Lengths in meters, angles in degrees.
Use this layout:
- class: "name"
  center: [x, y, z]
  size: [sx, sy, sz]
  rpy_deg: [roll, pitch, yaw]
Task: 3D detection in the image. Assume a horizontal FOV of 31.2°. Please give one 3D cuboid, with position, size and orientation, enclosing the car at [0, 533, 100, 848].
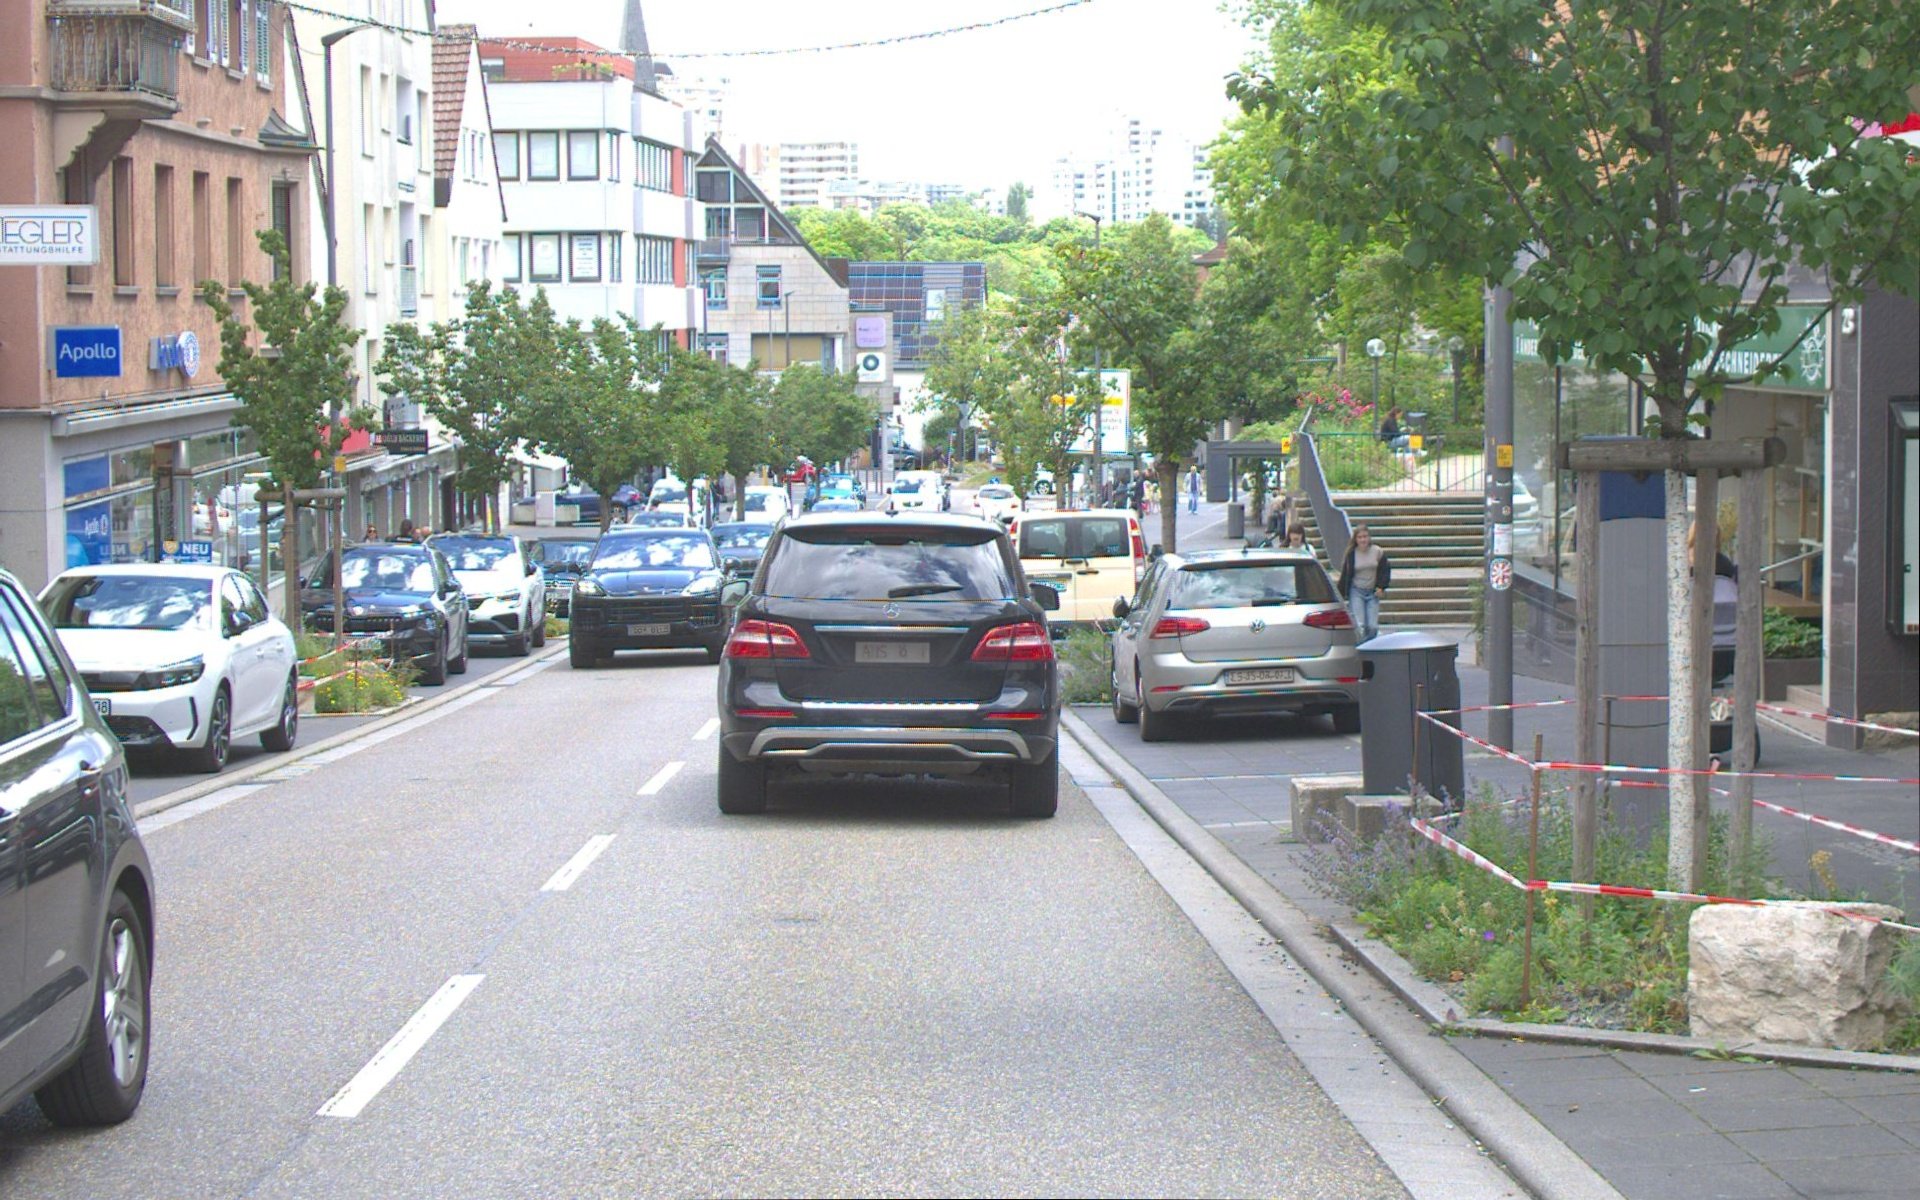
- class: "car"
  center: [-5.913, 0.459, 17.750]
  size: [1.926, 1.616, 4.640]
  rpy_deg: [1, 1, -2]

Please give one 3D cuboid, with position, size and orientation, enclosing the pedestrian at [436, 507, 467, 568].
- class: "pedestrian"
  center: [-10.753, -1.320, 72.673]
  size: [0.565, 1.277, 0.759]
  rpy_deg: [0, 1, -2]

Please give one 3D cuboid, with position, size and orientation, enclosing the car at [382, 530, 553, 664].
- class: "car"
  center: [-6.578, -0.082, 46.283]
  size: [1.926, 1.590, 4.459]
  rpy_deg: [2, 2, -4]

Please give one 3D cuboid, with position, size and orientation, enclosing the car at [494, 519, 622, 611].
- class: "car"
  center: [-7.272, -0.669, 62.534]
  size: [1.926, 1.491, 4.263]
  rpy_deg: [2, 2, -2]

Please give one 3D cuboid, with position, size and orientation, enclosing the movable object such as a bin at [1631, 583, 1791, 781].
- class: "movable object such as a bin"
  center: [4.641, 0.495, 21.302]
  size: [0.721, 1.154, 0.907]
  rpy_deg: [-3, 1, -2]

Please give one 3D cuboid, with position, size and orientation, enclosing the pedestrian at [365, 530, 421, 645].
- class: "pedestrian"
  center: [-8.306, -0.190, 50.378]
  size: [0.727, 1.662, 0.720]
  rpy_deg: [0, 1, -2]

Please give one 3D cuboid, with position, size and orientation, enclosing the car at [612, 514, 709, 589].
- class: "car"
  center: [-6.889, -1.139, 79.398]
  size: [1.926, 1.623, 4.263]
  rpy_deg: [0, 2, -1]

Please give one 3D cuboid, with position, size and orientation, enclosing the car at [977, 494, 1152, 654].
- class: "car"
  center: [1.313, -0.394, 45.128]
  size: [1.938, 1.885, 4.707]
  rpy_deg: [-2, 2, -2]

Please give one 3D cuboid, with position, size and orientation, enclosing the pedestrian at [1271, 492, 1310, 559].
- class: "pedestrian"
  center: [9.736, -2.198, 101.213]
  size: [1.050, 1.906, 0.937]
  rpy_deg: [-2, 1, 6]

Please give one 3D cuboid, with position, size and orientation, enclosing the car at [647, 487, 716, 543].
- class: "car"
  center: [-8.619, -2.654, 106.624]
  size: [1.926, 1.623, 4.415]
  rpy_deg: [2, 2, -3]

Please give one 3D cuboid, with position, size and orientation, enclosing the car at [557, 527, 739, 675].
- class: "car"
  center: [-3.865, -0.034, 43.295]
  size: [1.992, 1.712, 4.447]
  rpy_deg: [-2, 1, -2]

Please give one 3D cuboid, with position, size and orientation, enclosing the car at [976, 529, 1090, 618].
- class: "car"
  center: [1.308, -0.518, 63.127]
  size: [1.938, 1.452, 4.707]
  rpy_deg: [-1, 2, 0]

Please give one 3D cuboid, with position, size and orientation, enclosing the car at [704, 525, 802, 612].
- class: "car"
  center: [-3.968, -0.634, 66.431]
  size: [1.764, 1.611, 4.033]
  rpy_deg: [-1, 1, -2]

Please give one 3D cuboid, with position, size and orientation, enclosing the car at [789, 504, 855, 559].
- class: "car"
  center: [-3.925, -1.973, 98.375]
  size: [1.812, 1.503, 4.001]
  rpy_deg: [-1, 1, -2]

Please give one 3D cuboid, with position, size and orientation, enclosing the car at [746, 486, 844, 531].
- class: "car"
  center: [-7.506, -4.154, 156.380]
  size: [4.192, 2.023, 1.784]
  rpy_deg: [0, 1, 33]

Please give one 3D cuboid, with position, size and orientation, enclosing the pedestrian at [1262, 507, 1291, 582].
- class: "pedestrian"
  center: [6.759, -1.193, 73.409]
  size: [0.568, 1.581, 0.666]
  rpy_deg: [-1, 1, 8]

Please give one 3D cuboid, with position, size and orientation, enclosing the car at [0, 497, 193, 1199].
- class: "car"
  center: [-3.042, 0.616, 7.466]
  size: [1.819, 1.612, 4.136]
  rpy_deg: [-2, 1, -1]

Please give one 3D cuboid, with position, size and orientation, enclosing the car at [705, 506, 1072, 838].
- class: "car"
  center: [-0.409, 0.330, 20.570]
  size: [1.943, 1.734, 4.179]
  rpy_deg: [1, 2, -1]

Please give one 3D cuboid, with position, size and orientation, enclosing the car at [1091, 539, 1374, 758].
- class: "car"
  center: [2.116, 0.326, 27.735]
  size: [1.748, 1.460, 4.075]
  rpy_deg: [-4, 2, -2]

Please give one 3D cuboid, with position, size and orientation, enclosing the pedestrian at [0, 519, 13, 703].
- class: "pedestrian"
  center: [-8.515, 0.105, 29.436]
  size: [0.547, 1.570, 0.863]
  rpy_deg: [-1, 2, -2]

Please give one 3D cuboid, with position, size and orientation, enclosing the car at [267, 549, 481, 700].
- class: "car"
  center: [-6.528, 0.229, 38.711]
  size: [1.926, 1.491, 4.263]
  rpy_deg: [-1, 2, -4]

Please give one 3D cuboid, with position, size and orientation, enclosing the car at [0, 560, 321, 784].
- class: "car"
  center: [-6.046, 0.458, 25.229]
  size: [1.926, 1.425, 4.262]
  rpy_deg: [0, 2, 0]

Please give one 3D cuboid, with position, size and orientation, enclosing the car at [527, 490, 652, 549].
- class: "car"
  center: [-12.272, -2.662, 113.934]
  size: [3.986, 1.744, 2.000]
  rpy_deg: [-3, 1, -4]

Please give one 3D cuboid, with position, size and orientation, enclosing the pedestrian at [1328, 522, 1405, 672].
- class: "pedestrian"
  center: [4.507, -0.038, 38.154]
  size: [0.671, 1.627, 0.670]
  rpy_deg: [-3, 1, -3]

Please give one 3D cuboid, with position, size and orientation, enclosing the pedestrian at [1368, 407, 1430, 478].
- class: "pedestrian"
  center: [7.842, -2.810, 61.402]
  size: [0.990, 1.227, 0.984]
  rpy_deg: [0, 1, 1]

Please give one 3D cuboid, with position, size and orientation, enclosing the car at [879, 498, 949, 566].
- class: "car"
  center: [-1.626, -2.451, 122.767]
  size: [2.174, 2.356, 4.622]
  rpy_deg: [-1, 1, 3]

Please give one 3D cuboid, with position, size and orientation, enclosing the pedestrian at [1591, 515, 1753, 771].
- class: "pedestrian"
  center: [4.590, 0.263, 22.227]
  size: [0.735, 1.579, 1.000]
  rpy_deg: [-3, 1, -2]

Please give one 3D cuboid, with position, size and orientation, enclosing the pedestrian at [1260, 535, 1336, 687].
- class: "pedestrian"
  center: [3.717, 0.111, 37.838]
  size: [0.671, 1.627, 0.670]
  rpy_deg: [-3, 1, -3]

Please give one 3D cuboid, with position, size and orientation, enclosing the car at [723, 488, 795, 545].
- class: "car"
  center: [-6.038, -2.535, 103.678]
  size: [1.926, 1.623, 4.263]
  rpy_deg: [2, 2, -1]

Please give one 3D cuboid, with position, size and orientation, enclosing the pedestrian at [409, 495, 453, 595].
- class: "pedestrian"
  center: [-8.877, -0.922, 57.700]
  size: [0.641, 1.662, 0.720]
  rpy_deg: [0, 1, -2]
